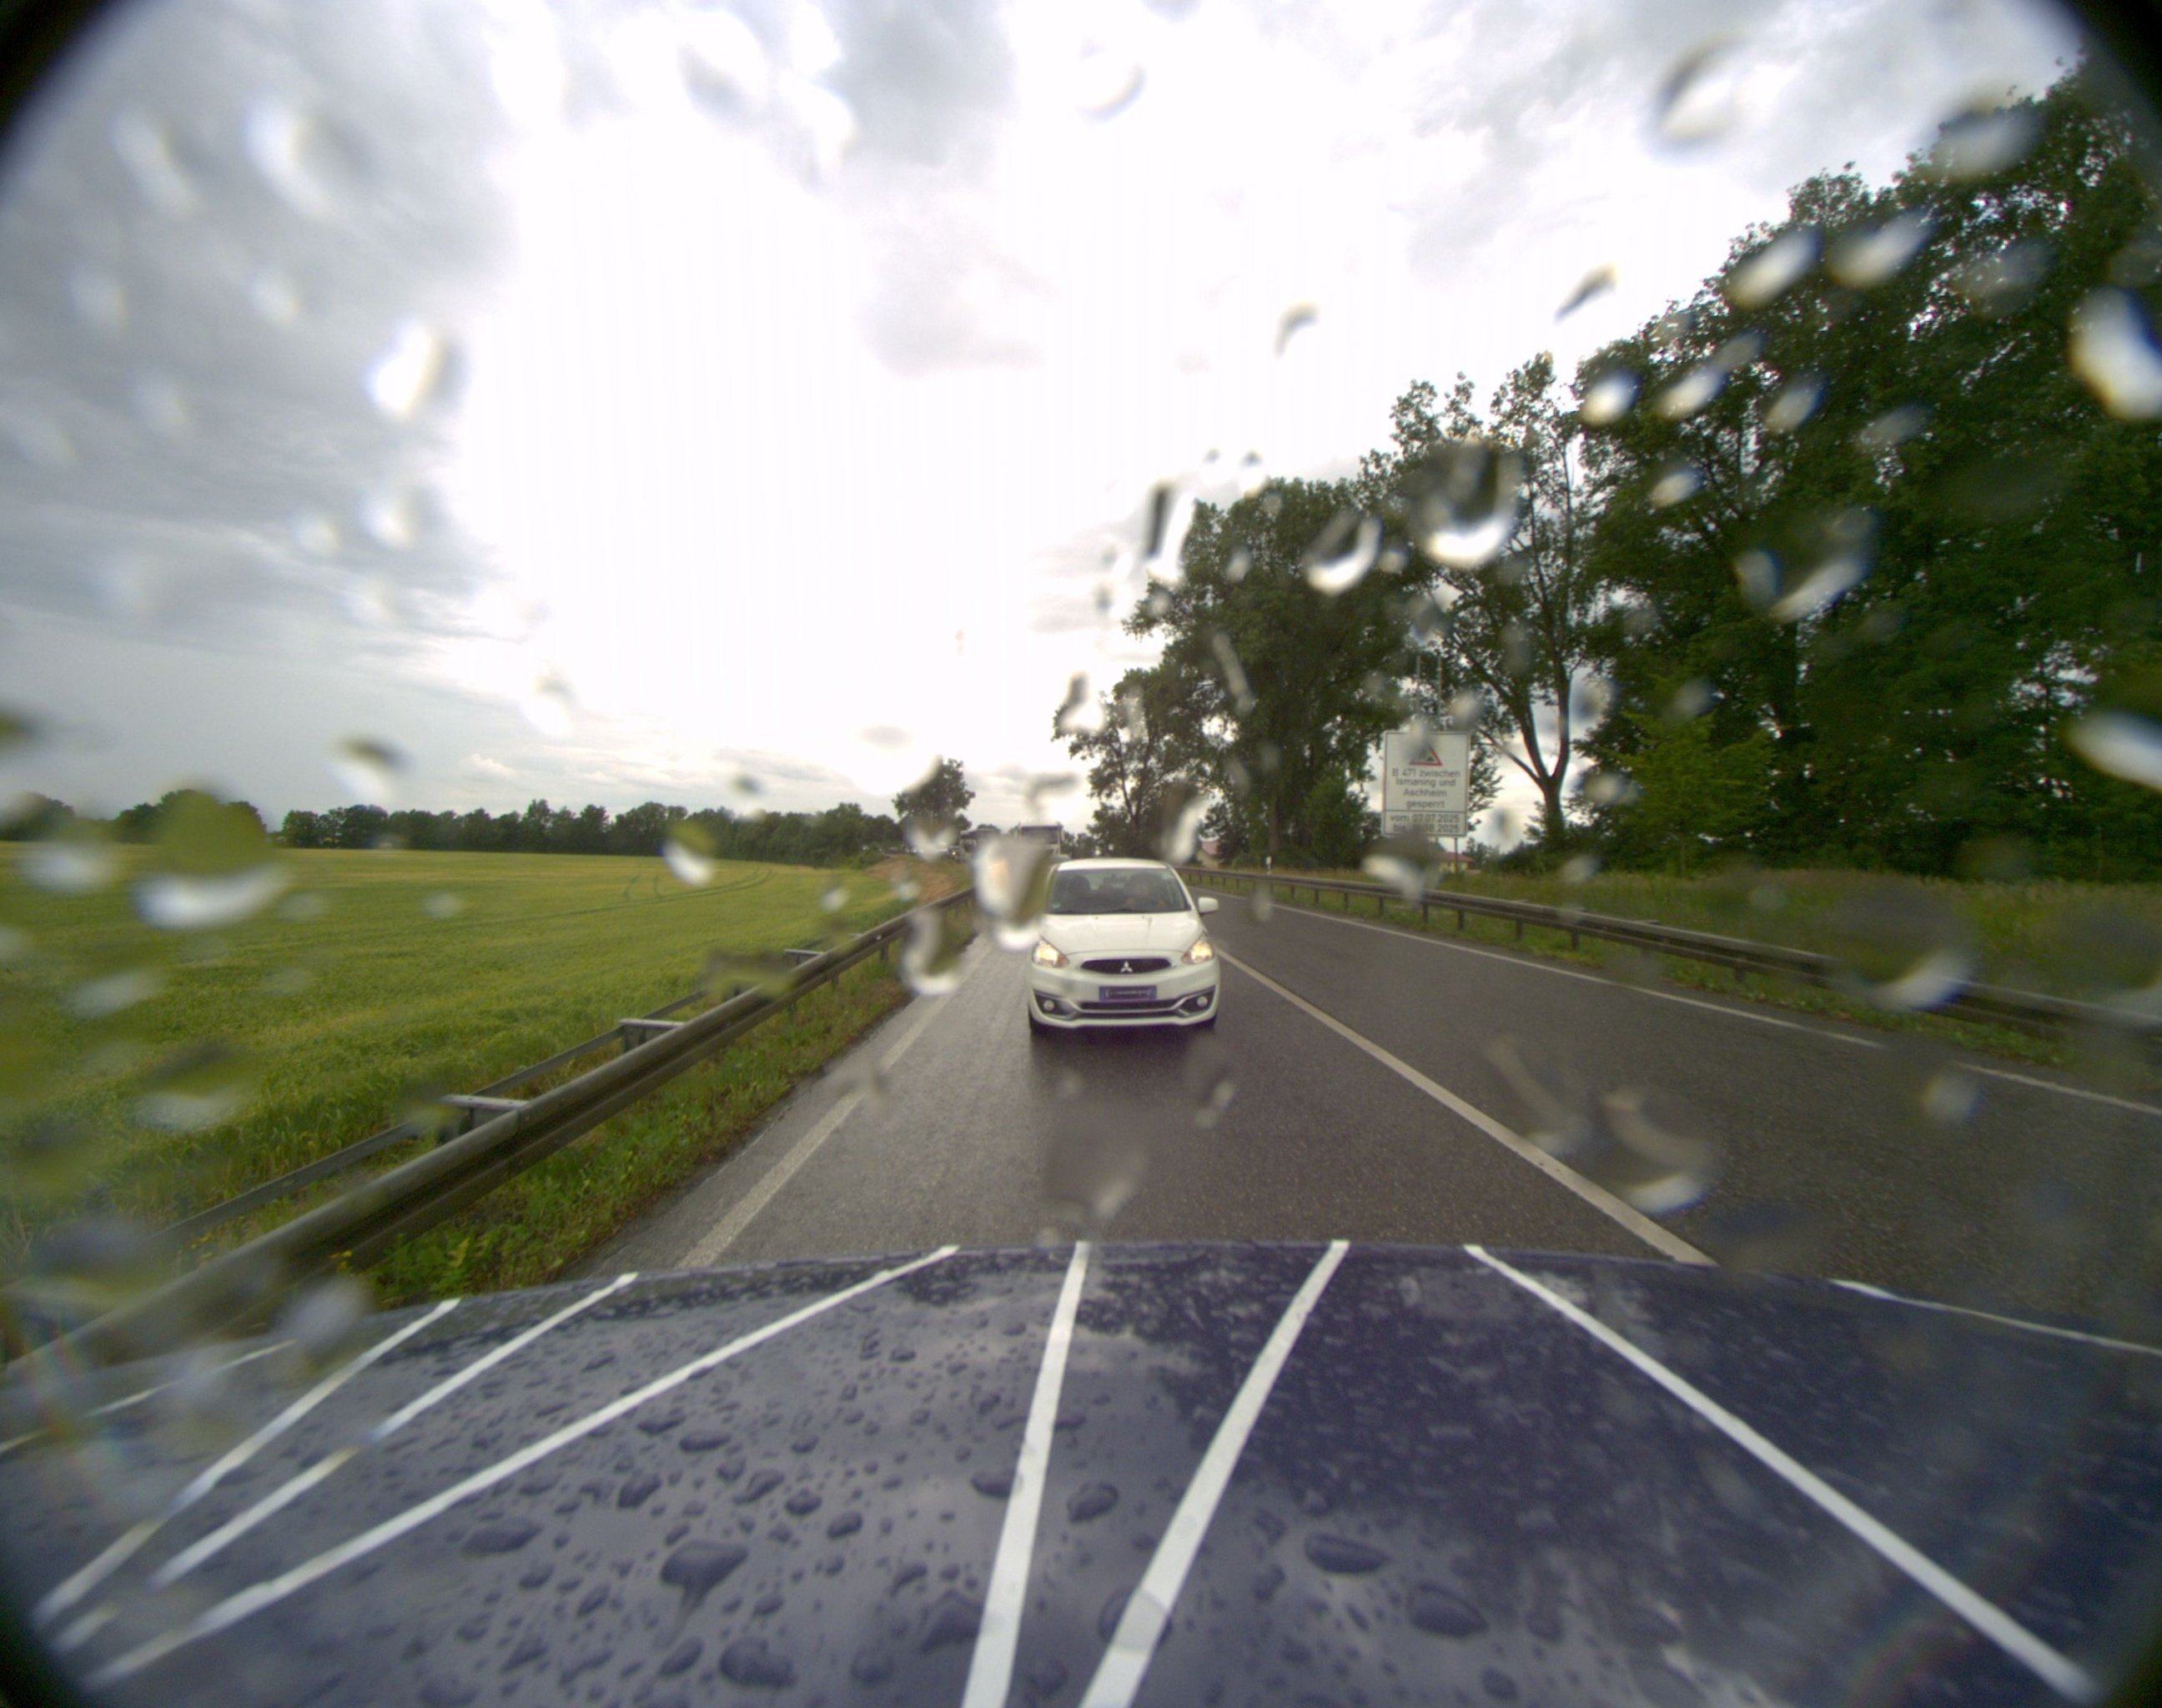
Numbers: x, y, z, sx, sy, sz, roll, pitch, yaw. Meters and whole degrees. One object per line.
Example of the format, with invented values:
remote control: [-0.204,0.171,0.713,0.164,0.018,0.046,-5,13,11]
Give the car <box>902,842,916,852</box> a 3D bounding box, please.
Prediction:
car: [-36.817,-1.447,162.671,2.002,2.002,4.256,-3,1,-26]

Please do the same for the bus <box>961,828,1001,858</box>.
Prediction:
bus: [-12.583,-1.401,94.106,2.967,3.294,14.814,-2,2,-15]

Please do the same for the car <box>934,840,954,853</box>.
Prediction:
car: [-23.367,-1.254,129.333,2.002,2.002,5.325,-2,1,-24]

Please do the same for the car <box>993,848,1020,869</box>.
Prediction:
car: [-7.208,0.396,73.164,2.044,1.832,5.330,-2,1,-11]

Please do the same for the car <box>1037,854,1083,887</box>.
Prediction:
car: [-1.084,0.755,36.692,1.782,1.380,4.325,-2,1,-7]

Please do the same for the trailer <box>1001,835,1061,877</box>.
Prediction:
trailer: [-3.981,0.015,56.157,2.985,2.618,15.667,-2,1,-9]

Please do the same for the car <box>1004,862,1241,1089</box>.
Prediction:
car: [0.284,0.893,7.447,1.653,1.461,4.029,-2,1,0]

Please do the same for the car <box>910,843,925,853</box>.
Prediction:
car: [-32.635,-1.163,151.552,2.002,2.002,4.223,-2,1,-24]

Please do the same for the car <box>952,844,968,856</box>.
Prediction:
car: [-17.893,-0.592,112.245,1.816,1.569,3.994,-2,1,-17]

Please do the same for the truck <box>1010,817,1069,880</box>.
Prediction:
truck: [-2.706,-0.360,47.668,2.985,3.589,6.075,-2,1,-9]
